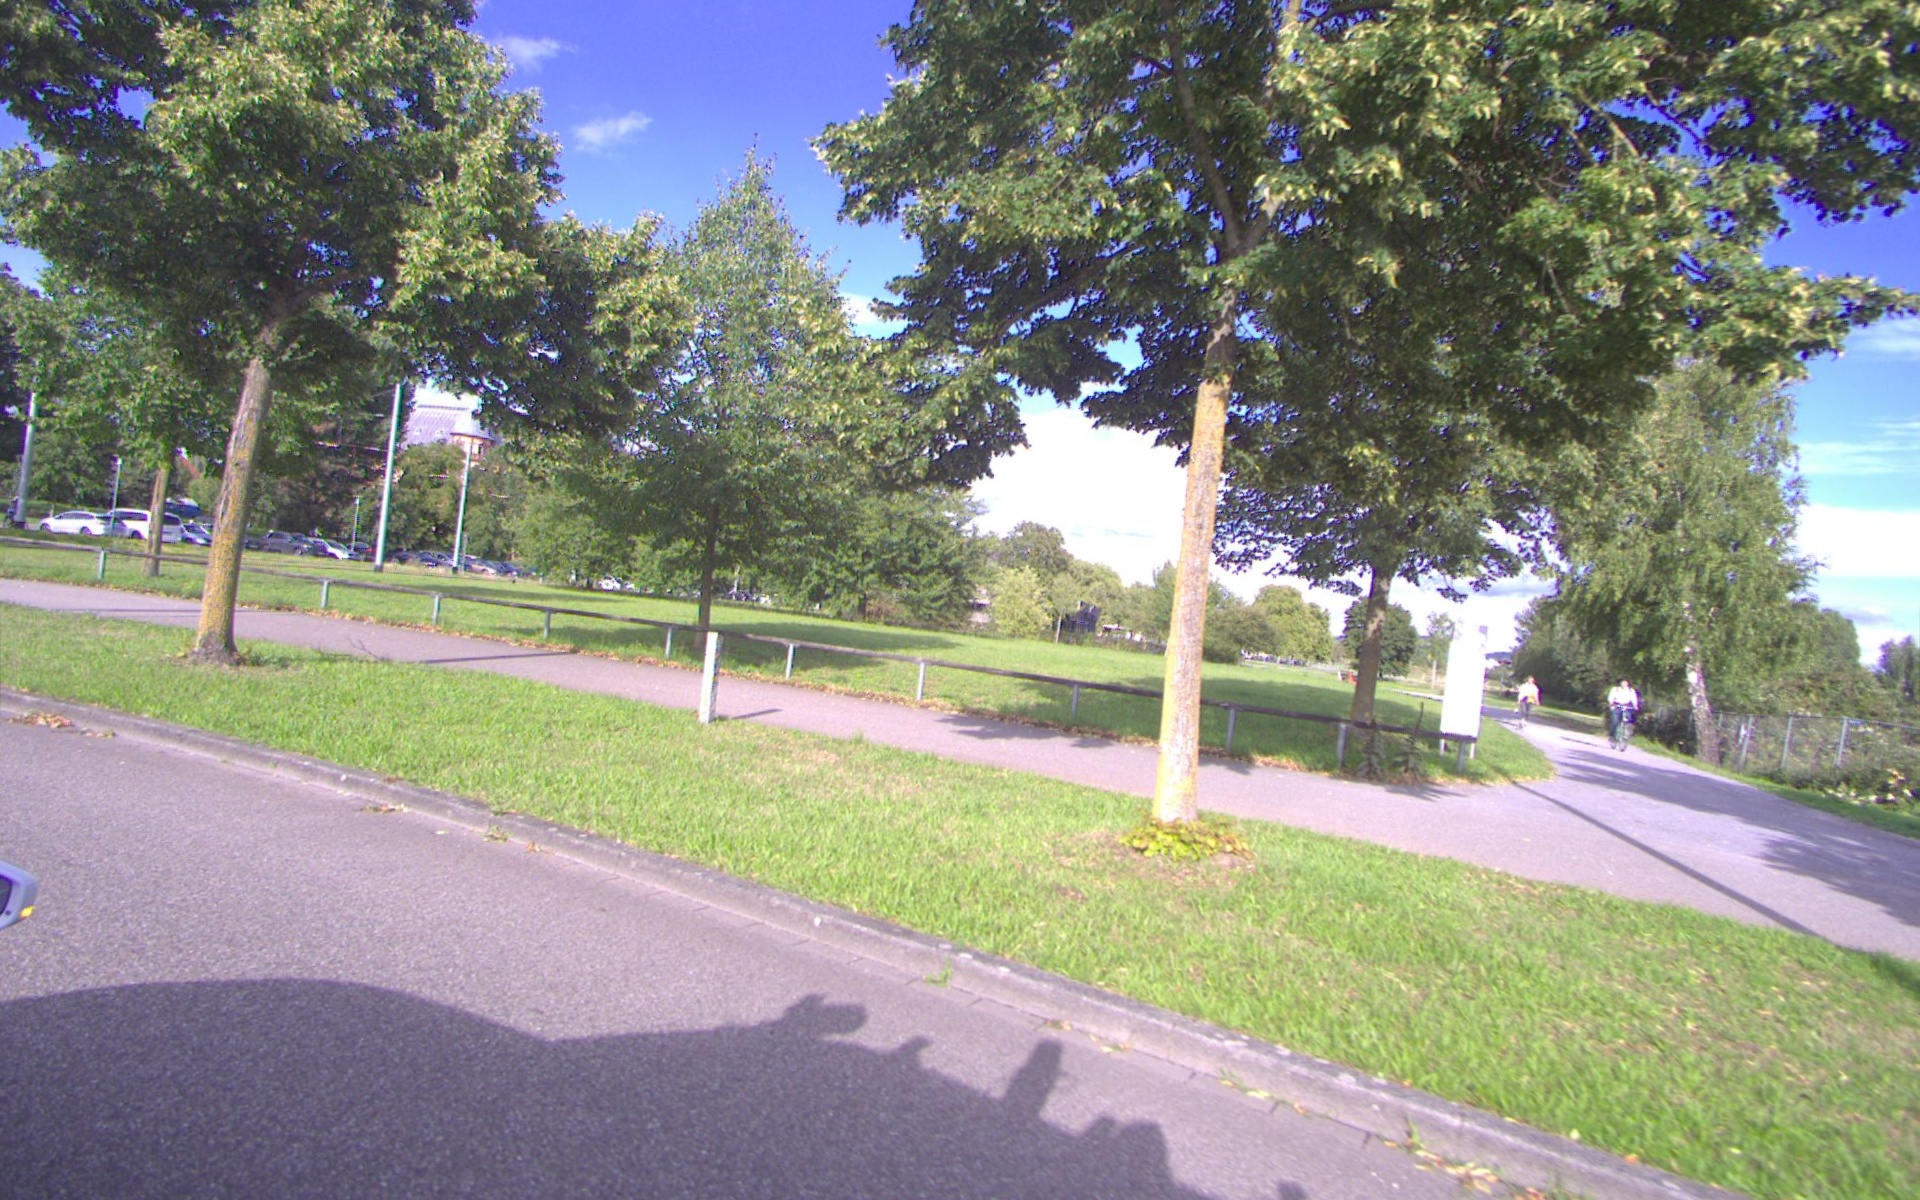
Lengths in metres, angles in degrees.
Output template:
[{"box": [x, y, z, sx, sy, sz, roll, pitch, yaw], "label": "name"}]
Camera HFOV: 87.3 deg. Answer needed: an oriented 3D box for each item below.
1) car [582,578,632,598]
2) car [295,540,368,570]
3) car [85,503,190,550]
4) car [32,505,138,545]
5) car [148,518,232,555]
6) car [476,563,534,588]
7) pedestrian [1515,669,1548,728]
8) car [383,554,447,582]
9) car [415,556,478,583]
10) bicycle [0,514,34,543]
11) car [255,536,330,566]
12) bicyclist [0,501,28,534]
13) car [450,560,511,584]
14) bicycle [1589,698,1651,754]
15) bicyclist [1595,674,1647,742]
[{"box": [-35.096, -1.175, 99.952, 4.385, 1.493, 1.800, 6, 0, 18], "label": "car"}, {"box": [-43.081, -3.097, 68.965, 4.386, 1.523, 1.861, 6, 0, 21], "label": "car"}, {"box": [-46.635, -4.166, 57.041, 5.018, 2.032, 2.317, 6, 0, 21], "label": "car"}, {"box": [-47.184, -4.046, 54.289, 4.383, 1.534, 1.862, 6, 0, 10], "label": "car"}, {"box": [-45.953, -3.791, 60.052, 4.389, 1.695, 2.101, 6, 0, 25], "label": "car"}, {"box": [-38.575, -2.106, 85.310, 4.386, 1.560, 1.859, 6, 0, 21], "label": "car"}, {"box": [17.636, 3.031, 31.056, 0.656, 1.754, 0.596, 6, 0, 26], "label": "pedestrian"}, {"box": [-41.520, -2.435, 76.624, 4.386, 1.534, 1.803, 6, 0, 21], "label": "car"}, {"box": [-40.342, -2.378, 78.988, 4.386, 1.560, 1.859, 6, 0, 21], "label": "car"}, {"box": [-43.611, -3.294, 45.937, 0.703, 1.237, 2.522, 7, 0, -14], "label": "bicycle"}, {"box": [-44.081, -3.223, 66.409, 4.386, 1.416, 1.861, 6, 0, 21], "label": "car"}, {"box": [-43.528, -3.779, 46.074, 0.703, 1.372, 1.003, 7, 0, -14], "label": "bicyclist"}, {"box": [-39.475, -2.299, 82.825, 4.386, 1.471, 1.859, 6, 0, 21], "label": "car"}, {"box": [16.479, 3.117, 25.177, 0.789, 1.139, 2.600, 6, -1, 24], "label": "bicycle"}, {"box": [16.521, 2.672, 25.165, 0.789, 1.566, 0.904, 6, 0, 24], "label": "bicyclist"}]
